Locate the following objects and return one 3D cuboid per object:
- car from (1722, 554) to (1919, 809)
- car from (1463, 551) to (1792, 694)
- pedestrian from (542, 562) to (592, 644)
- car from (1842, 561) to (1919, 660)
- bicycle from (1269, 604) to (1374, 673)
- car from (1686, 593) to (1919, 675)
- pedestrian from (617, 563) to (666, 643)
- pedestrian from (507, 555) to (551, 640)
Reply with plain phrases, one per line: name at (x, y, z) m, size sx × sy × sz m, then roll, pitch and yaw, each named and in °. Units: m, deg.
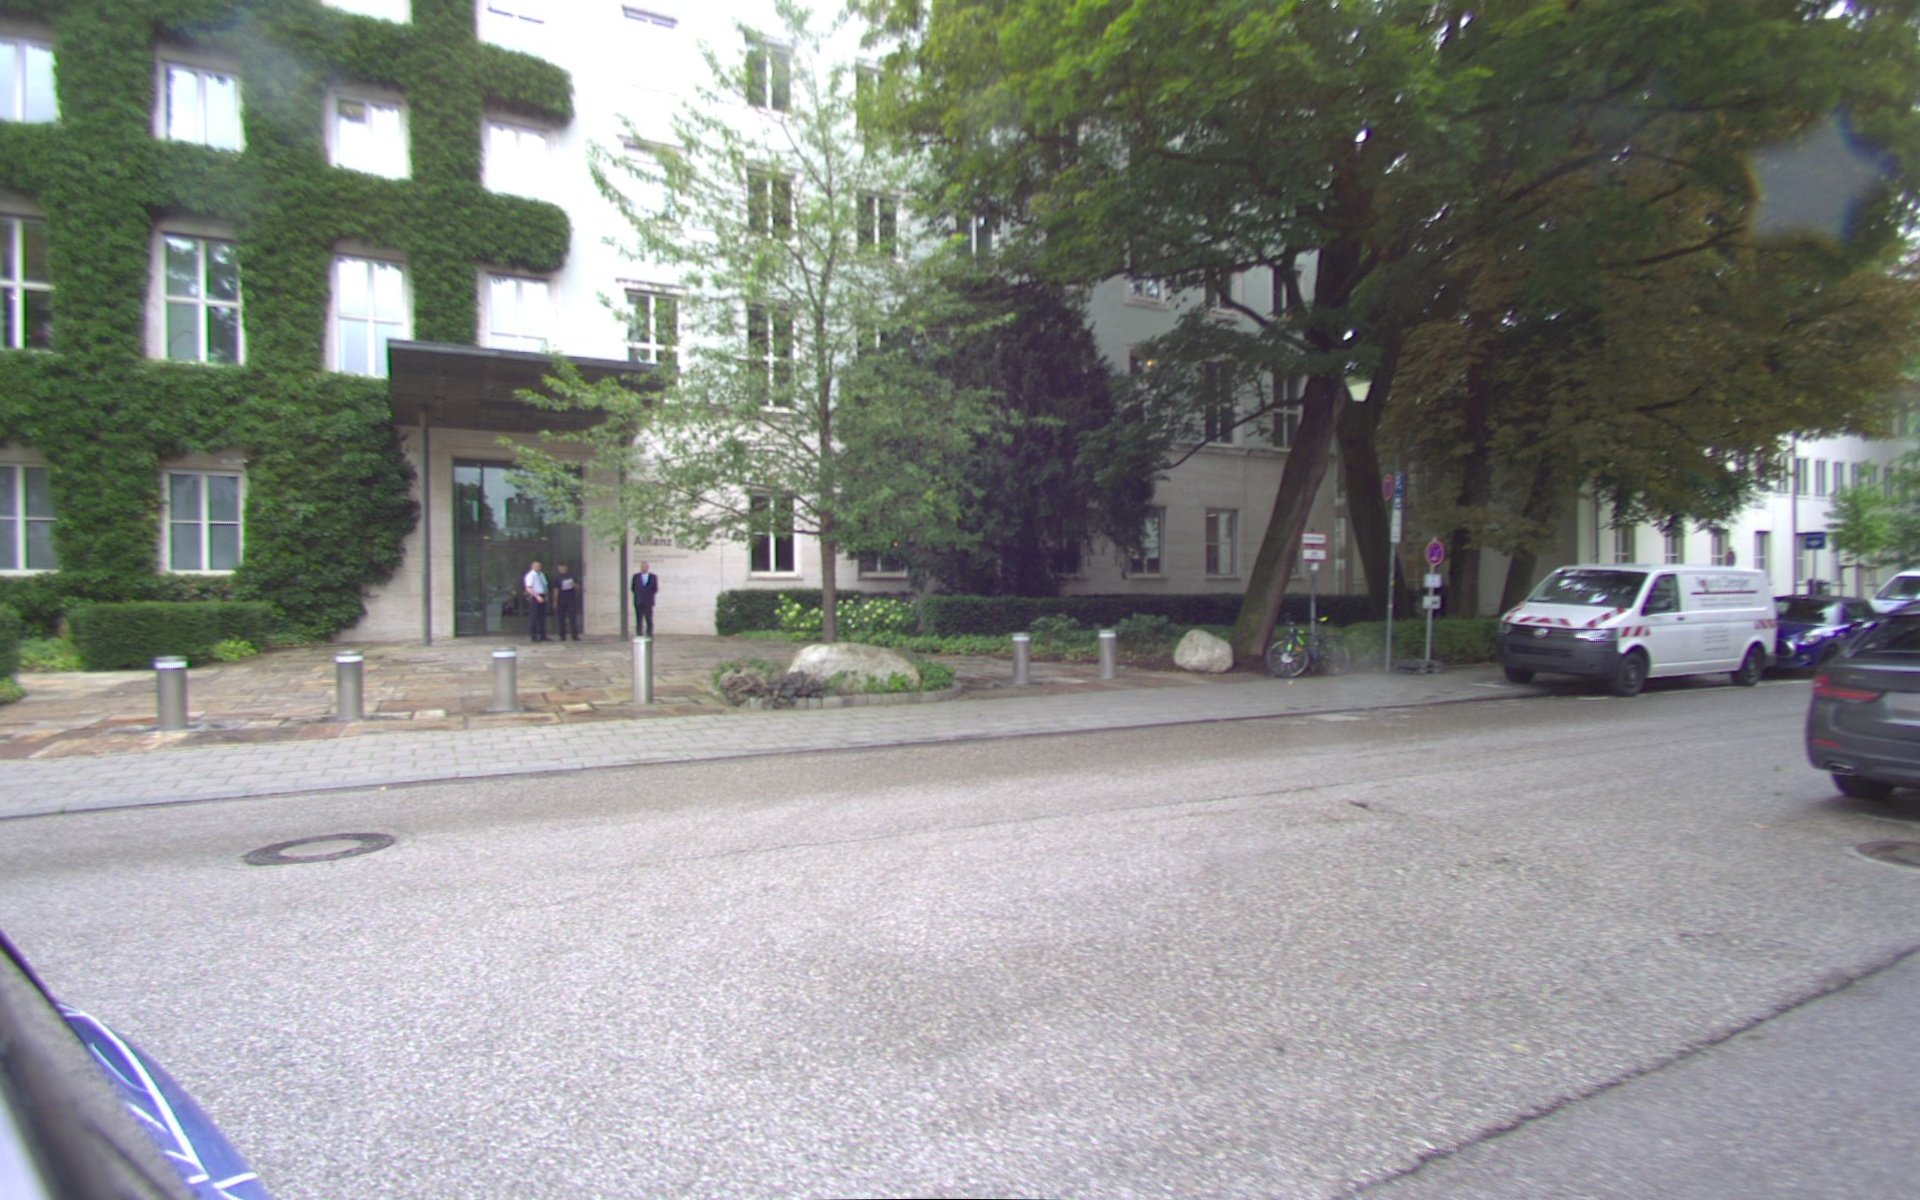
car at (7.931, 0.481, 7.079) m, size 4.507 × 1.558 × 2.287 m, roll 0°, pitch -2°, yaw -25°
car at (10.767, 0.258, 16.240) m, size 5.360 × 1.971 × 2.262 m, roll -1°, pitch 1°, yaw -30°
pedestrian at (-8.637, 0.068, 22.232) m, size 0.886 × 1.766 × 0.755 m, roll 1°, pitch -1°, yaw -32°
car at (21.082, 0.175, 21.368) m, size 5.078 × 1.971 × 2.197 m, roll -1°, pitch 1°, yaw -30°
bicycle at (6.153, 0.632, 17.231) m, size 1.736 × 1.111 × 0.637 m, roll 0°, pitch 1°, yaw -26°
car at (15.876, 0.561, 19.033) m, size 3.881 × 1.339 × 2.226 m, roll -1°, pitch 1°, yaw -30°
pedestrian at (-7.174, 0.070, 22.813) m, size 0.886 × 1.766 × 0.755 m, roll 1°, pitch -1°, yaw -32°
pedestrian at (-9.209, -0.053, 21.607) m, size 0.740 × 1.766 × 0.904 m, roll -1°, pitch 0°, yaw -31°
